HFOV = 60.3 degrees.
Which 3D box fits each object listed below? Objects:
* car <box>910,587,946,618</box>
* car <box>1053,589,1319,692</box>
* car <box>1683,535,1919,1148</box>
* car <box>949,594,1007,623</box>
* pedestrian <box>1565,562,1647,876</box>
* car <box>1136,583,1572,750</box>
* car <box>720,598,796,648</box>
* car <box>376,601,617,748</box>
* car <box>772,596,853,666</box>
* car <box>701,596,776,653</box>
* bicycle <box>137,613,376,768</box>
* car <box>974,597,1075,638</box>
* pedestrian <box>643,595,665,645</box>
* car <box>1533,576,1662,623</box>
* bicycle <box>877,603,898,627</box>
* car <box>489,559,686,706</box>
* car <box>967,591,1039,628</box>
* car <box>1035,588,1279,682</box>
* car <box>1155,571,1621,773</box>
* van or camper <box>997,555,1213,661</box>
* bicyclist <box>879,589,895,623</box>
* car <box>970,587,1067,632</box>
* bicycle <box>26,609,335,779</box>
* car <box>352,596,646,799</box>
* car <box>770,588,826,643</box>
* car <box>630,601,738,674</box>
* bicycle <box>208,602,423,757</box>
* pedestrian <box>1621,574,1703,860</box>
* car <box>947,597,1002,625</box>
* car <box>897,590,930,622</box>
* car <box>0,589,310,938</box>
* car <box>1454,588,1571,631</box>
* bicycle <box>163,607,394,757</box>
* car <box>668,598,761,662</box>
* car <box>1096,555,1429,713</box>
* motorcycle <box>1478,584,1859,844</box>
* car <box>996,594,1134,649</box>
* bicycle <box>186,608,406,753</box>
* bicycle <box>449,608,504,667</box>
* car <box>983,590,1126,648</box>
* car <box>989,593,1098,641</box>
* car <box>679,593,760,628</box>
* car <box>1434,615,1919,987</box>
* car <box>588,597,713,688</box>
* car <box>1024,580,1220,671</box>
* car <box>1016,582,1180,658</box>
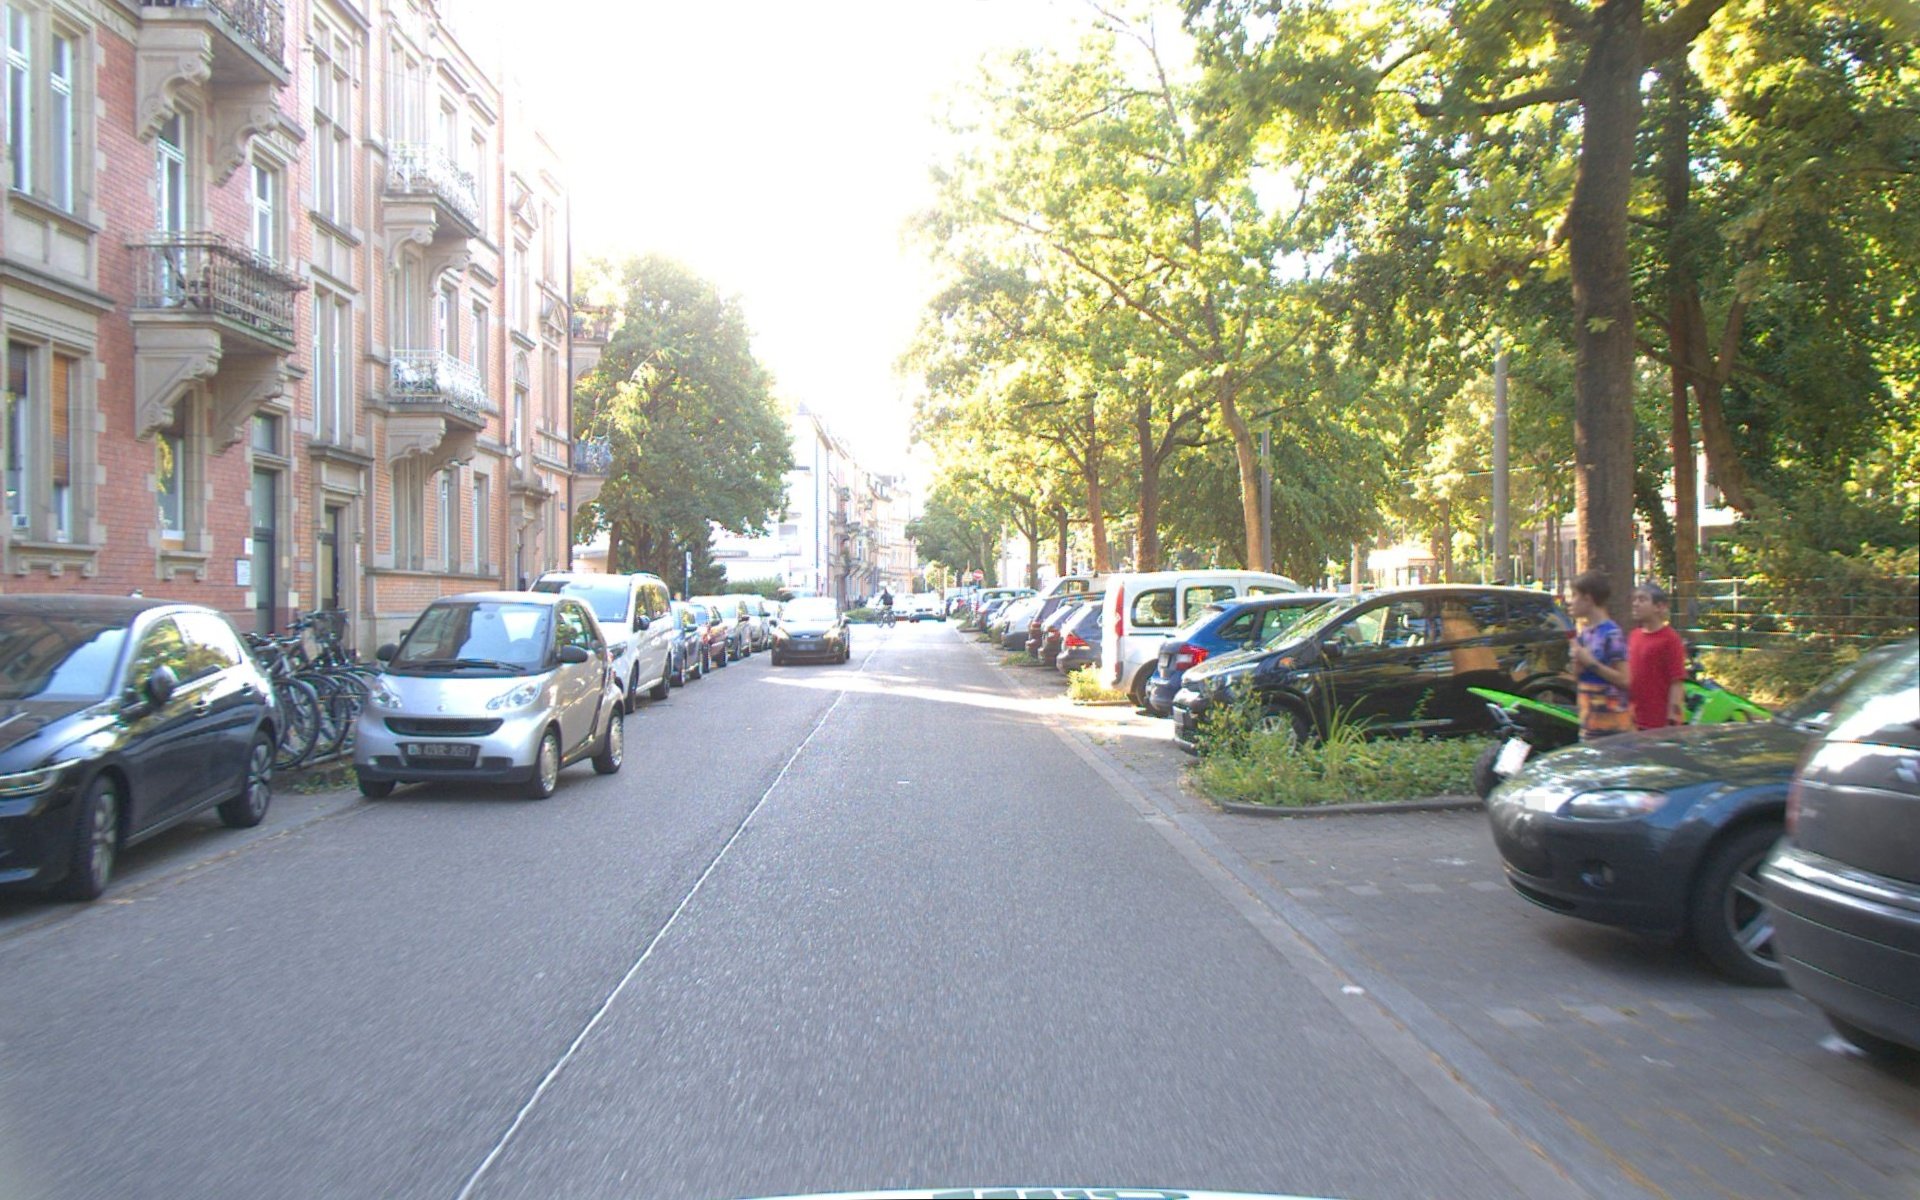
[{"bbox_3d":[-1.785,0.132,94.167,1.741,1.703,4.488,1,0,2],"label":"car"},{"bbox_3d":[3.615,0.648,27.011,4.132,1.478,1.649,-2,0,3],"label":"car"},{"bbox_3d":[4.647,0.593,4.797,4.315,1.619,1.835,-1,-1,-6],"label":"car"},{"bbox_3d":[1.317,0.650,120.406,3.902,2.049,2.001,0,-2,10],"label":"car"},{"bbox_3d":[3.437,0.610,8.819,0.372,1.612,0.519,0,2,18],"label":"pedestrian"},{"bbox_3d":[3.969,0.644,17.058,4.001,1.468,1.760,-2,0,-4],"label":"car"},{"bbox_3d":[-6.233,0.688,51.401,1.720,1.491,4.268,1,0,2],"label":"car"},{"bbox_3d":[-5.278,0.781,19.386,1.640,1.480,4.209,-2,0,-1],"label":"car"},{"bbox_3d":[-3.369,0.687,38.410,1.635,1.489,3.998,-2,0,-2],"label":"car"},{"bbox_3d":[-6.229,0.666,46.842,1.721,1.542,4.159,1,0,-2],"label":"car"},{"bbox_3d":[-5.742,0.737,13.541,1.727,1.236,0.441,1,-2,-2],"label":"bicycle"},{"bbox_3d":[2.596,0.709,67.129,3.908,1.591,1.857,1,-2,-4],"label":"car"},{"bbox_3d":[-9.960,0.653,53.844,0.585,1.577,0.708,-1,2,-2],"label":"pedestrian"},{"bbox_3d":[24.612,-0.013,63.897,4.603,1.713,1.999,0,-2,22],"label":"car"},{"bbox_3d":[-3.448,0.723,78.223,0.630,1.119,1.937,1,-2,-14],"label":"bicycle"},{"bbox_3d":[-5.401,0.509,24.656,1.953,1.955,5.037,1,-2,-2],"label":"car"},{"bbox_3d":[2.489,0.559,95.757,3.902,2.049,2.001,0,-2,10],"label":"car"},{"bbox_3d":[3.495,0.613,29.904,4.134,1.478,1.864,-2,0,-1],"label":"car"},{"bbox_3d":[3.642,0.596,14.538,3.599,1.528,1.761,-2,0,0],"label":"car"},{"bbox_3d":[3.405,0.224,39.542,4.882,2.419,2.183,1,-2,-3],"label":"van or camper"},{"bbox_3d":[-3.463,0.287,78.318,0.617,1.601,0.799,1,-2,-14],"label":"bicyclist"},{"bbox_3d":[2.450,0.413,69.803,3.908,1.825,1.857,1,-2,-4],"label":"car"},{"bbox_3d":[-5.899,0.712,12.621,2.055,1.236,0.439,1,-2,-17],"label":"bicycle"},{"bbox_3d":[-3.662,0.717,13.566,1.473,1.460,2.754,-2,0,3],"label":"car"},{"bbox_3d":[-6.390,0.594,65.591,1.918,2.053,4.266,1,0,-2],"label":"car"},{"bbox_3d":[-5.851,0.760,35.440,1.636,1.454,4.240,1,0,-1],"label":"car"},{"bbox_3d":[-5.865,0.719,15.089,1.727,1.371,0.495,1,-2,-2],"label":"bicycle"},{"bbox_3d":[3.924,0.630,9.261,0.372,1.543,0.519,0,2,18],"label":"pedestrian"},{"bbox_3d":[1.134,0.850,127.258,3.902,2.049,2.001,0,-2,10],"label":"car"},{"bbox_3d":[-2.873,0.400,101.792,1.953,1.870,3.997,1,-2,-2],"label":"car"},{"bbox_3d":[-5.175,0.732,9.447,1.714,1.573,4.145,1,0,-7],"label":"car"},{"bbox_3d":[23.325,0.404,69.807,4.603,1.713,2.000,0,-2,21],"label":"car"},{"bbox_3d":[-5.770,0.690,14.057,1.727,1.236,0.464,1,-2,-2],"label":"bicycle"},{"bbox_3d":[-6.015,0.694,40.872,1.669,1.454,3.877,2,0,0],"label":"car"},{"bbox_3d":[4.013,0.438,22.404,4.134,1.896,1.761,-2,0,-1],"label":"car"},{"bbox_3d":[4.305,0.676,10.225,1.822,1.488,1.263,1,-2,0],"label":"motorcycle"},{"bbox_3d":[3.115,0.662,49.527,3.908,1.575,1.857,1,-2,-4],"label":"car"},{"bbox_3d":[-5.833,0.704,14.566,1.727,1.236,0.428,1,-2,-2],"label":"bicycle"},{"bbox_3d":[-9.960,0.776,34.150,0.691,1.168,1.888,1,-2,-4],"label":"bicycle"},{"bbox_3d":[2.947,0.621,52.140,4.303,1.729,1.857,1,-2,-4],"label":"car"},{"bbox_3d":[3.126,0.669,62.172,3.908,1.729,1.857,1,-2,-4],"label":"car"},{"bbox_3d":[-12.528,0.536,86.369,3.905,1.736,2.000,1,-2,0],"label":"car"},{"bbox_3d":[4.154,0.733,7.018,3.765,1.301,1.690,-1,0,-2],"label":"car"},{"bbox_3d":[-5.585,0.728,30.214,1.636,1.512,3.998,1,0,-2],"label":"car"},{"bbox_3d":[3.363,0.527,34.978,3.906,1.721,1.859,-2,0,0],"label":"car"},{"bbox_3d":[3.470,0.495,42.108,3.908,1.849,1.857,1,0,-4],"label":"car"}]
